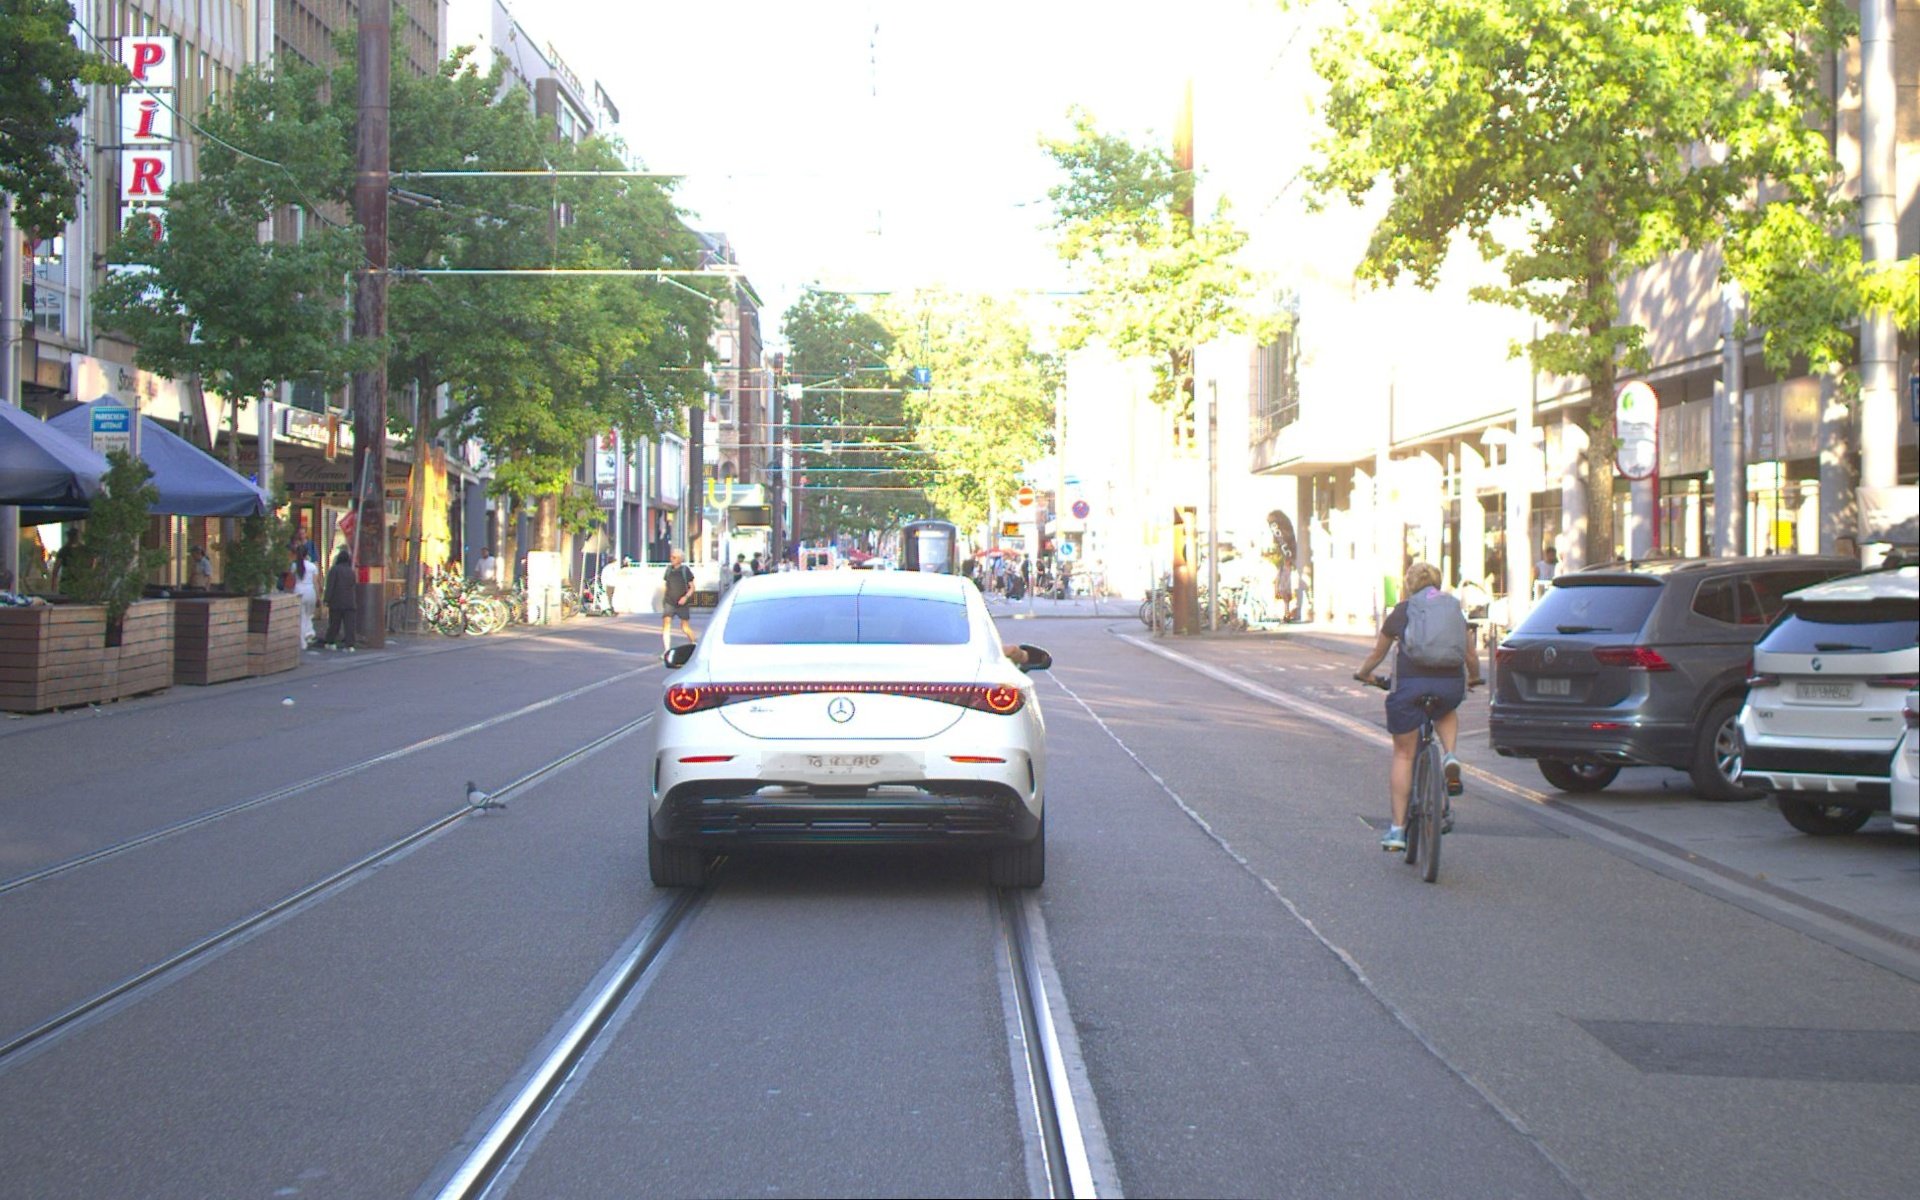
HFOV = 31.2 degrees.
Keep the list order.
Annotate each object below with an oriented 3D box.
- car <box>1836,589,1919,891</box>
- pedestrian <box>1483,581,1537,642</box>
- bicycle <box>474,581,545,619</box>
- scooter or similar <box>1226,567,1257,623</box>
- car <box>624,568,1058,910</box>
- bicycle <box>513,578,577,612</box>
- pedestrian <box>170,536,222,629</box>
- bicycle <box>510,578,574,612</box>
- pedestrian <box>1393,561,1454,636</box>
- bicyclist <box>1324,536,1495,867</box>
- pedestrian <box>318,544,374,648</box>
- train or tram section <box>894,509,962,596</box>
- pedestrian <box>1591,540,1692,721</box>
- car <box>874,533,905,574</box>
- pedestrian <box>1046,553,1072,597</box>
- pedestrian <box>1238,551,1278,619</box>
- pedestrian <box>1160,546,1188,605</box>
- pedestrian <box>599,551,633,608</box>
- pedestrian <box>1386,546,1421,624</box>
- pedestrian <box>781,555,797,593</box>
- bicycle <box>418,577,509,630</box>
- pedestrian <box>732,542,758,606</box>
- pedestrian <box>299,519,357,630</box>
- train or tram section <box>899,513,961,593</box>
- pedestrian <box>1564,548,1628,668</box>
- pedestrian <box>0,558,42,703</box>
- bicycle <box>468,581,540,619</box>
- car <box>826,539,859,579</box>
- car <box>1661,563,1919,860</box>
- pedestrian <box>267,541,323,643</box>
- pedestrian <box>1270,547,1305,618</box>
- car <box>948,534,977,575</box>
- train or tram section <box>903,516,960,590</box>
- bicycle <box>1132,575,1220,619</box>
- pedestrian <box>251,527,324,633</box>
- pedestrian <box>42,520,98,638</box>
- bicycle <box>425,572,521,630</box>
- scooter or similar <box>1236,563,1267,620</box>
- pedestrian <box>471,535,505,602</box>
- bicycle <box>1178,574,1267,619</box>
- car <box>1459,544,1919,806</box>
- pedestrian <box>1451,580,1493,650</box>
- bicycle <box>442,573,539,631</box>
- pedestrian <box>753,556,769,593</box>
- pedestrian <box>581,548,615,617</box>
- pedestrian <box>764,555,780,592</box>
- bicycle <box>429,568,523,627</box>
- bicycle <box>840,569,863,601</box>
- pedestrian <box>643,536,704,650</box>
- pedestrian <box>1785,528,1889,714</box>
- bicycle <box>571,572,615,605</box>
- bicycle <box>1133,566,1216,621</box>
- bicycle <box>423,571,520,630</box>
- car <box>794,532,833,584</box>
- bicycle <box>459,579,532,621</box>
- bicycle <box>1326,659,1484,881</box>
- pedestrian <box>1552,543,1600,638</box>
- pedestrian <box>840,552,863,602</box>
[{"bbox_3d":[6.775,0.633,17.787,4.145,1.494,1.689,-2,1,-24],"label":"car"},{"bbox_3d":[9.448,0.197,59.082,0.836,1.027,0.696,1,1,5],"label":"pedestrian"},{"bbox_3d":[-9.868,-0.006,75.323,1.493,0.780,0.344,2,1,1],"label":"bicycle"},{"bbox_3d":[6.452,-0.115,78.784,0.527,1.273,0.660,-2,1,-11],"label":"scooter or similar"},{"bbox_3d":[-0.523,0.575,16.815,1.857,1.450,4.175,0,1,0],"label":"car"},{"bbox_3d":[-10.136,-0.124,83.963,1.493,0.780,0.344,2,1,1],"label":"bicycle"},{"bbox_3d":[-12.783,-0.292,57.550,0.622,1.520,0.809,3,1,0],"label":"pedestrian"},{"bbox_3d":[-10.168,-0.114,83.594,1.493,0.780,0.344,2,1,1],"label":"bicycle"},{"bbox_3d":[8.625,-0.033,63.980,0.833,1.372,0.778,0,1,-22],"label":"pedestrian"},{"bbox_3d":[2.297,0.496,17.503,0.778,1.607,0.912,2,1,9],"label":"bicyclist"},{"bbox_3d":[-9.350,-0.063,52.393,0.622,1.545,0.852,3,1,0],"label":"pedestrian"},{"bbox_3d":[-1.306,-1.980,144.187,2.694,3.504,12.545,0,1,0],"label":"train or tram section"},{"bbox_3d":[6.464,0.287,32.605,0.680,1.679,0.695,-1,1,34],"label":"pedestrian"},{"bbox_3d":[-5.006,-3.295,245.491,2.099,2.887,5.275,0,1,0],"label":"car"},{"bbox_3d":[4.051,-1.036,140.835,0.960,1.779,0.804,-1,1,-1],"label":"pedestrian"},{"bbox_3d":[7.794,-0.397,89.867,0.899,1.739,0.689,-3,1,-1],"label":"pedestrian"},{"bbox_3d":[6.578,-0.757,105.618,0.748,1.779,0.767,-1,1,-1],"label":"pedestrian"},{"bbox_3d":[-10.191,-0.610,101.936,0.905,1.693,0.849,0,1,1],"label":"pedestrian"},{"bbox_3d":[9.492,-0.322,73.614,0.637,1.647,0.781,0,1,1],"label":"pedestrian"},{"bbox_3d":[-7.309,-1.121,146.935,0.660,1.593,0.573,0,1,-1],"label":"pedestrian"},{"bbox_3d":[-9.121,0.063,63.144,1.596,0.927,0.377,2,1,7],"label":"bicycle"},{"bbox_3d":[-6.525,-0.793,104.199,0.540,1.922,0.571,1,1,44],"label":"pedestrian"},{"bbox_3d":[-11.251,-0.457,61.246,0.800,1.917,1.071,3,1,-3],"label":"pedestrian"},{"bbox_3d":[-1.349,-2.138,156.740,2.694,3.504,12.545,0,1,0],"label":"train or tram section"},{"bbox_3d":[8.467,0.106,45.769,0.681,1.567,0.632,2,1,0],"label":"pedestrian"},{"bbox_3d":[-9.034,0.281,32.462,0.549,1.352,0.583,1,1,-1],"label":"pedestrian"},{"bbox_3d":[-9.916,-0.004,74.718,1.493,0.780,0.344,2,1,1],"label":"bicycle"},{"bbox_3d":[-7.282,-2.522,213.458,1.910,2.452,5.275,0,1,0],"label":"car"},{"bbox_3d":[6.479,0.558,20.690,4.235,1.582,1.884,-2,1,-31],"label":"car"},{"bbox_3d":[-10.136,-0.128,52.395,0.622,1.504,0.833,3,1,0],"label":"pedestrian"},{"bbox_3d":[8.547,-0.467,89.762,0.701,1.806,1.033,-3,1,-1],"label":"pedestrian"},{"bbox_3d":[0.191,-3.236,245.791,2.099,2.887,5.285,0,1,0],"label":"car"},{"bbox_3d":[-1.395,-2.282,168.581,2.694,3.504,11.143,0,1,0],"label":"train or tram section"},{"bbox_3d":[5.446,-0.080,86.607,2.113,1.092,0.610,1,0,-11],"label":"bicycle"},{"bbox_3d":[-11.294,-0.333,57.768,0.850,1.735,0.834,2,1,20],"label":"pedestrian"},{"bbox_3d":[-13.271,-0.317,51.254,0.597,1.739,0.671,2,1,1],"label":"pedestrian"},{"bbox_3d":[-9.413,0.014,66.430,1.788,1.073,0.377,2,1,-4],"label":"bicycle"},{"bbox_3d":[6.622,-0.196,78.152,0.491,1.273,0.660,-2,1,-11],"label":"scooter or similar"},{"bbox_3d":[-12.441,-0.823,90.640,0.785,1.760,0.537,0,1,-24],"label":"pedestrian"},{"bbox_3d":[6.562,-0.093,85.935,2.113,1.092,0.610,0,0,-13],"label":"bicycle"},{"bbox_3d":[5.833,0.469,24.617,4.342,1.646,1.694,-2,1,-31],"label":"car"},{"bbox_3d":[9.026,0.260,60.589,0.666,1.194,0.784,1,1,5],"label":"pedestrian"},{"bbox_3d":[-9.232,0.038,67.682,1.846,1.073,0.377,2,1,-4],"label":"bicycle"},{"bbox_3d":[-8.688,-1.113,149.961,0.660,1.593,0.573,0,1,-1],"label":"pedestrian"},{"bbox_3d":[-9.526,-0.466,90.394,0.788,1.795,0.844,0,1,1],"label":"pedestrian"},{"bbox_3d":[-8.030,-1.128,146.860,0.660,1.593,0.573,0,1,-1],"label":"pedestrian"},{"bbox_3d":[-9.879,-0.049,70.169,1.846,1.137,0.377,2,1,1],"label":"bicycle"},{"bbox_3d":[-4.003,-0.542,126.479,0.800,1.138,2.257,2,1,-2],"label":"bicycle"},{"bbox_3d":[-4.612,-0.119,55.315,0.841,1.795,0.790,2,1,1],"label":"pedestrian"},{"bbox_3d":[8.285,0.198,32.464,0.689,1.725,0.631,-1,1,42],"label":"pedestrian"},{"bbox_3d":[-11.360,-0.371,106.560,0.719,1.006,2.038,0,1,14],"label":"bicycle"},{"bbox_3d":[5.219,-0.157,83.623,1.908,1.277,0.610,-2,1,-11],"label":"bicycle"},{"bbox_3d":[-9.368,0.003,65.992,1.788,1.073,0.377,2,1,-4],"label":"bicycle"},{"bbox_3d":[-8.273,-2.392,194.675,1.993,2.887,5.275,0,1,0],"label":"car"},{"bbox_3d":[-9.959,0.002,73.783,1.493,0.838,0.344,2,1,1],"label":"bicycle"},{"bbox_3d":[2.319,0.842,17.740,0.719,0.992,2.058,2,1,9],"label":"bicycle"},{"bbox_3d":[11.336,-0.175,63.273,0.715,1.735,0.835,0,1,0],"label":"pedestrian"},{"bbox_3d":[-3.992,-0.851,126.404,0.800,1.776,0.849,2,0,-1],"label":"pedestrian"}]
